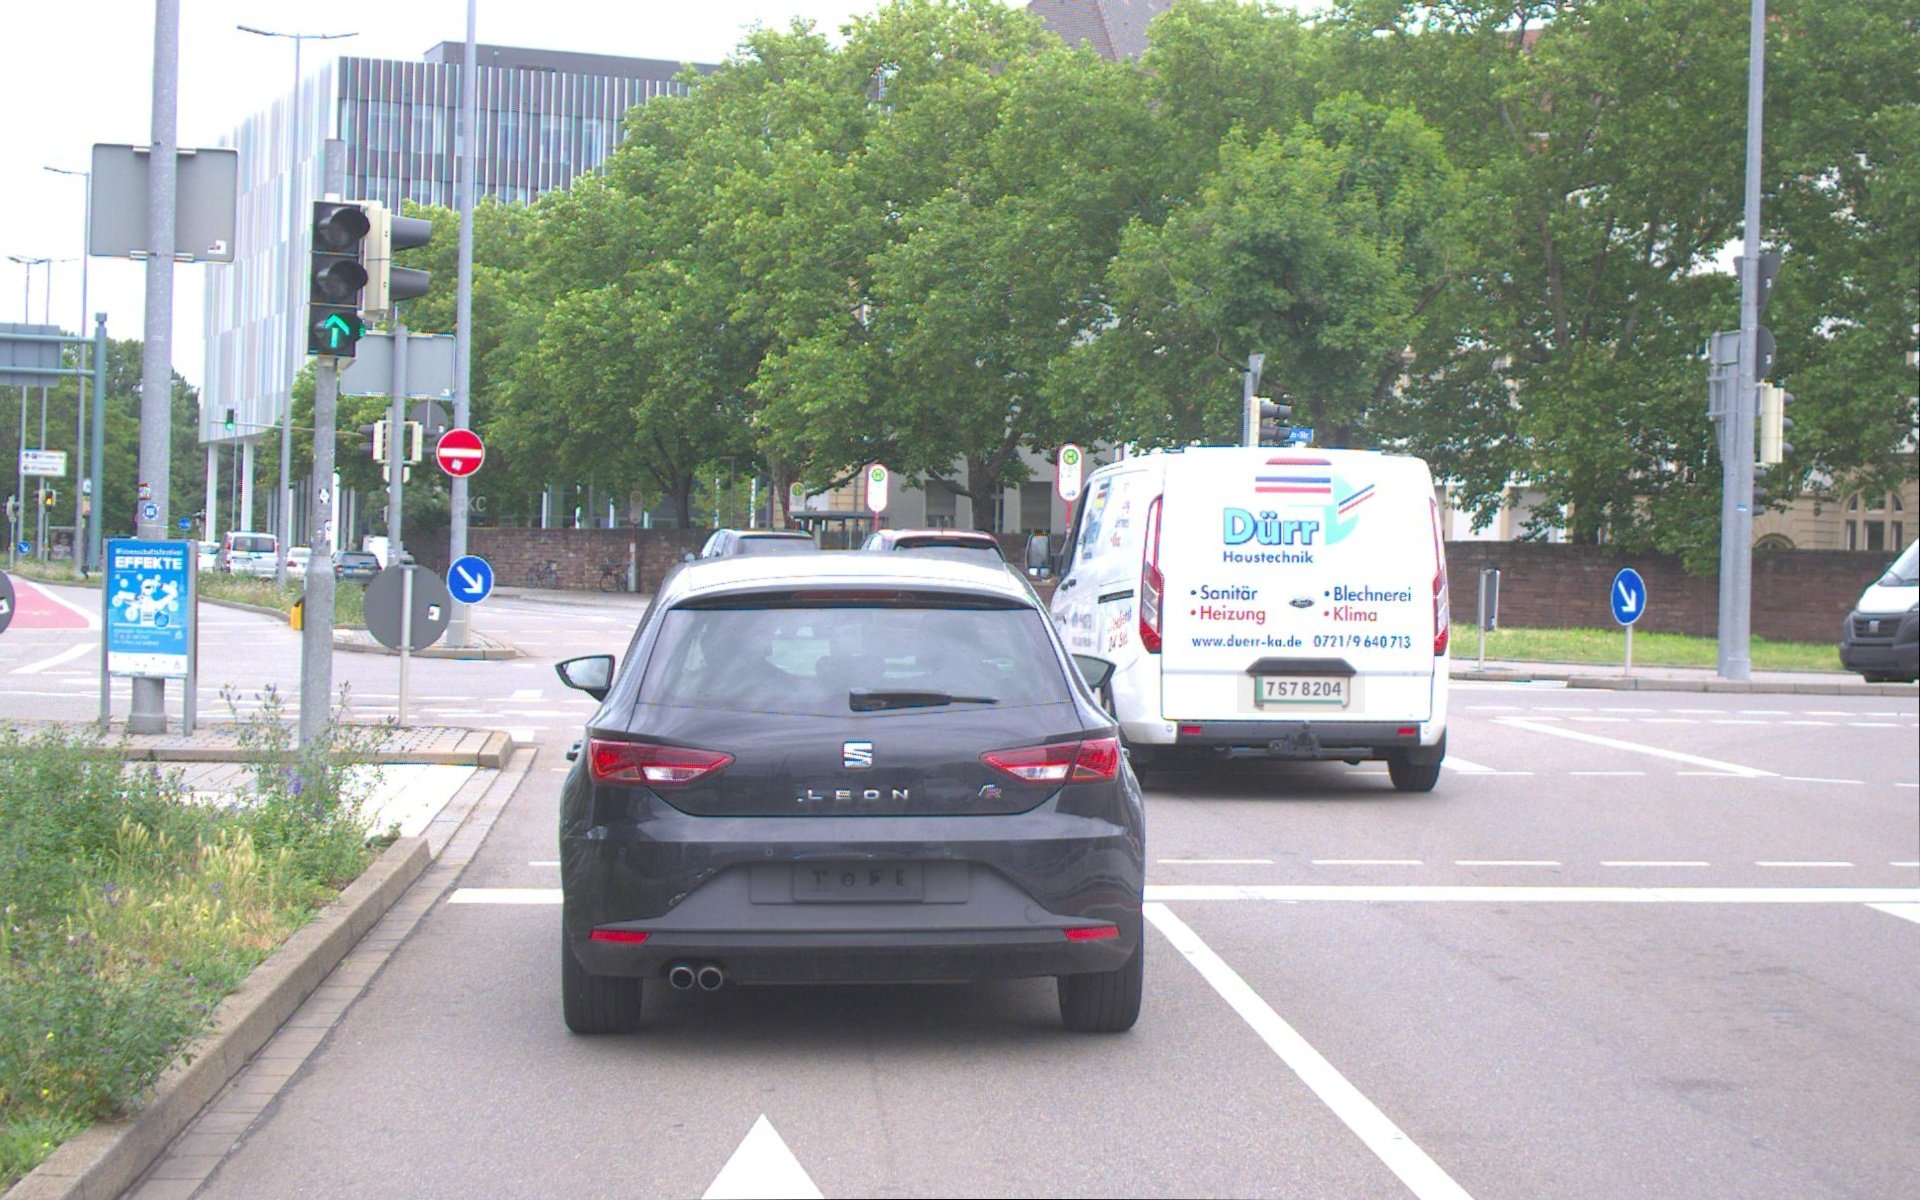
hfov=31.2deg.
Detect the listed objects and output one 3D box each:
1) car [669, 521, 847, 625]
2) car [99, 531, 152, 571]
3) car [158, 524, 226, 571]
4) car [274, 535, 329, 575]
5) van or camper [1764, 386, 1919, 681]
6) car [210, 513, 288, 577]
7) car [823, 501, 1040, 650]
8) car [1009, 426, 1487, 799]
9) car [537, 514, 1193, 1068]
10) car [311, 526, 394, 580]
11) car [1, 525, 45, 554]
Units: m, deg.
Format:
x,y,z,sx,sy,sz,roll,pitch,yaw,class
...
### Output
x,y,z,sx,sy,sz,roll,pitch,yaw,class
-3.318,-0.458,55.571,1.993,1.560,4.206,1,1,-16,car
-36.711,-2.154,151.237,1.993,1.676,4.012,2,1,-17,car
-28.372,-1.944,126.952,1.993,1.634,4.001,1,1,-19,car
-23.508,-1.627,122.686,1.525,1.360,2.970,1,1,-19,car
13.541,-0.680,41.253,7.127,3.321,2.877,1,-1,-20,van or camper
-23.590,-1.835,113.979,1.993,2.007,4.001,1,1,-19,car
-0.390,-0.307,39.896,1.857,1.595,4.206,1,1,-9,car
1.631,0.033,21.488,1.993,2.012,5.033,1,1,-6,car
-0.424,0.531,11.458,1.745,1.459,4.001,2,0,-5,car
-19.793,-1.538,111.867,1.917,1.678,4.001,1,1,-21,car
-43.571,-2.813,159.854,1.711,1.261,3.341,2,1,-19,car
